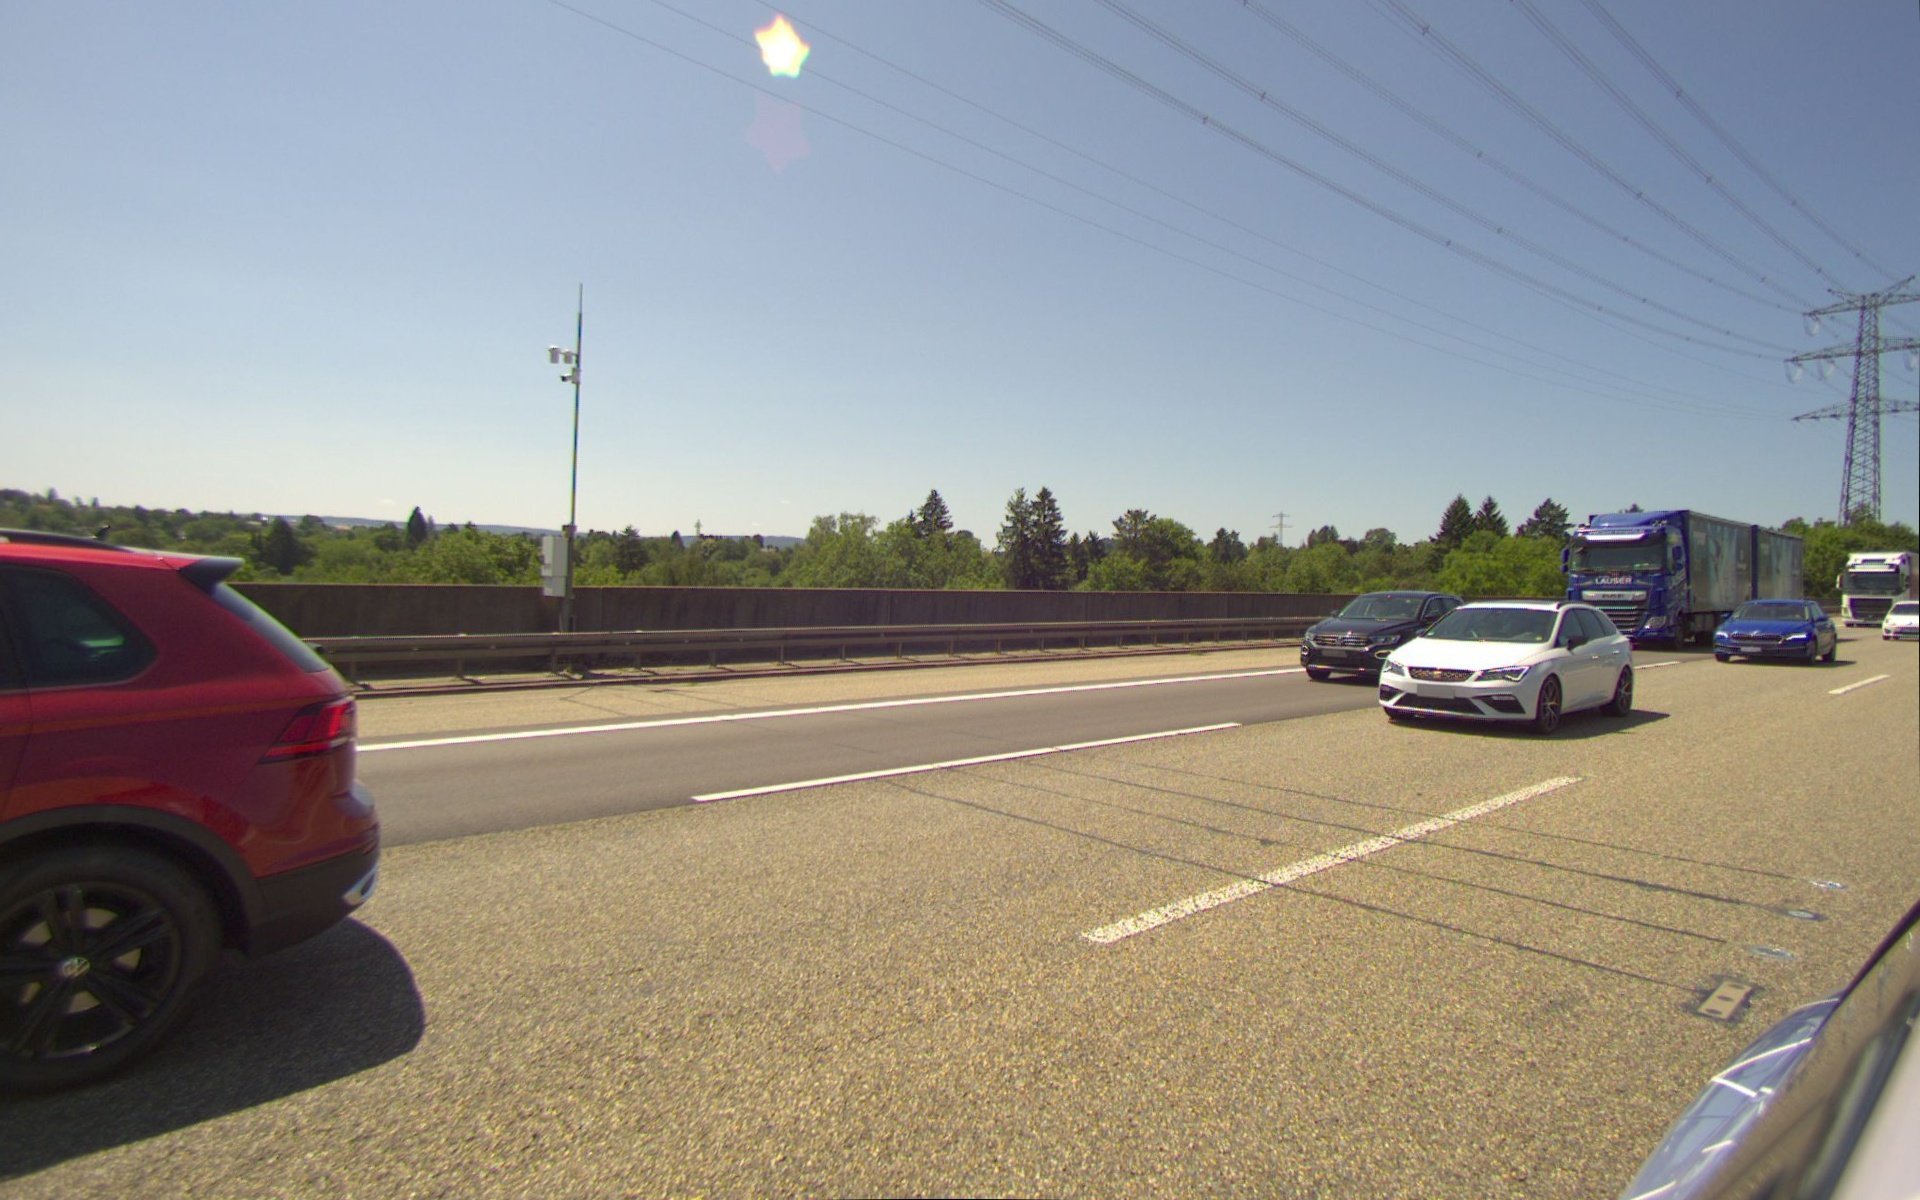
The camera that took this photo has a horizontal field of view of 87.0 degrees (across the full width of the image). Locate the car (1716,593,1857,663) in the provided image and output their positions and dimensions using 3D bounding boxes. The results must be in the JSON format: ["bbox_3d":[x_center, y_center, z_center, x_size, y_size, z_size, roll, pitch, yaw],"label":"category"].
[{"bbox_3d":[19.047,0.575,23.260,4.135,1.463,1.739,0,1,-40],"label":"car"}]

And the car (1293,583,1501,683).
[{"bbox_3d":[7.667,0.497,17.596,4.034,1.546,1.739,0,0,-41],"label":"car"}]

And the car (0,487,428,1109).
[{"bbox_3d":[-3.940,0.525,2.732,4.151,1.683,1.778,0,1,-41],"label":"car"}]

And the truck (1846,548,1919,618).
[{"bbox_3d":[52.316,-0.922,56.425,10.776,3.604,2.982,-1,0,-41],"label":"truck"}]

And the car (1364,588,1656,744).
[{"bbox_3d":[6.671,0.639,12.104,4.003,1.508,1.841,0,2,-42],"label":"car"}]

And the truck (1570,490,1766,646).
[{"bbox_3d":[22.071,-0.898,31.212,10.264,4.117,2.527,0,1,-41],"label":"truck"}]

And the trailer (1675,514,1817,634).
[{"bbox_3d":[29.098,-0.905,37.314,8.331,3.994,2.570,0,1,-41],"label":"trailer"}]

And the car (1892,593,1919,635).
[{"bbox_3d":[36.531,0.504,38.090,4.024,1.522,1.761,0,1,-42],"label":"car"}]
